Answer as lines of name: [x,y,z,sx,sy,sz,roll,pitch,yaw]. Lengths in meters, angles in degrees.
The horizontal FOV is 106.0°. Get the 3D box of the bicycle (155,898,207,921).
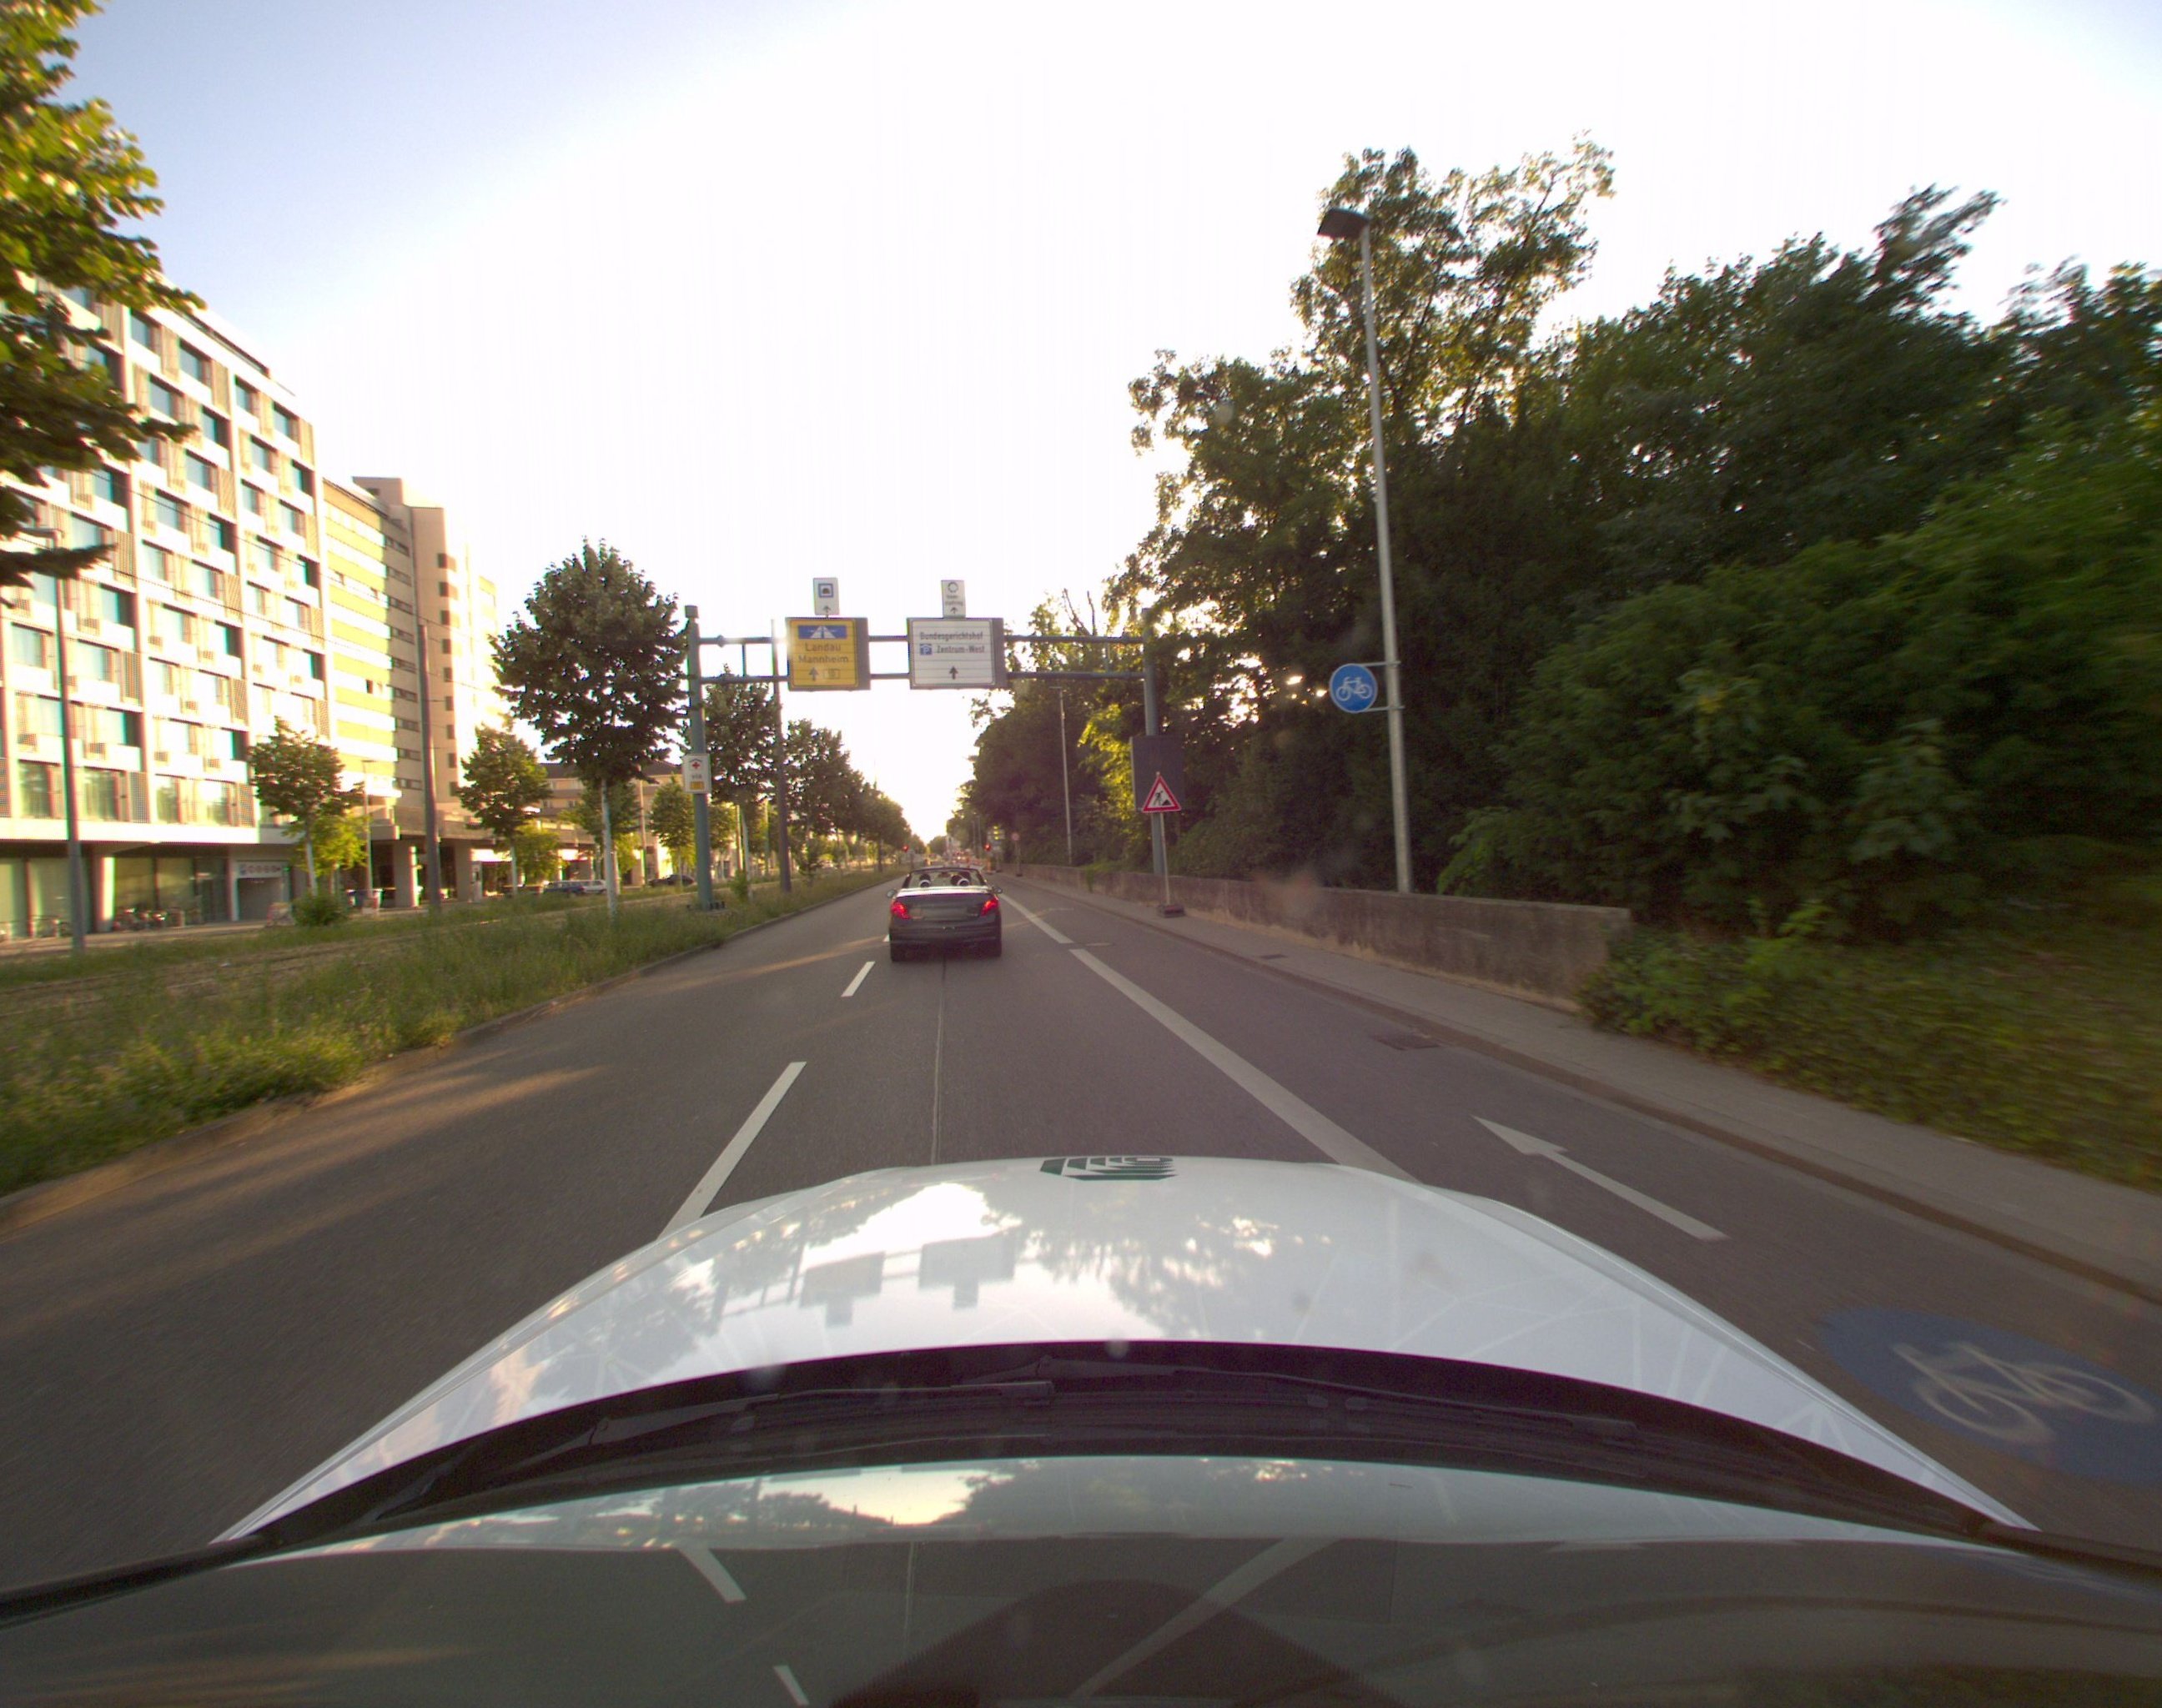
bicycle: [-45.756,2.800,41.421,1.790,1.020,0.419,-3,0,-14]

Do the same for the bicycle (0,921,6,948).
bicycle: [-43.670,3.241,32.046,1.745,1.020,0.419,-3,0,-14]

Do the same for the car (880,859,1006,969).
car: [-2.376,0.861,13.560,1.720,1.449,3.884,-3,0,-13]

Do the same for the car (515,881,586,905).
car: [-42.504,3.117,65.334,1.983,1.590,4.313,-3,0,40]

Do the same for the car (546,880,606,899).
car: [-44.104,3.056,71.193,4.154,1.436,1.803,-1,0,-42]

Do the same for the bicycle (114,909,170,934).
bicycle: [-44.589,3.209,38.677,1.790,1.020,0.419,-3,0,-14]

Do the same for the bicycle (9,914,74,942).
bicycle: [-44.255,3.130,34.693,1.790,1.020,0.419,-3,0,-14]
